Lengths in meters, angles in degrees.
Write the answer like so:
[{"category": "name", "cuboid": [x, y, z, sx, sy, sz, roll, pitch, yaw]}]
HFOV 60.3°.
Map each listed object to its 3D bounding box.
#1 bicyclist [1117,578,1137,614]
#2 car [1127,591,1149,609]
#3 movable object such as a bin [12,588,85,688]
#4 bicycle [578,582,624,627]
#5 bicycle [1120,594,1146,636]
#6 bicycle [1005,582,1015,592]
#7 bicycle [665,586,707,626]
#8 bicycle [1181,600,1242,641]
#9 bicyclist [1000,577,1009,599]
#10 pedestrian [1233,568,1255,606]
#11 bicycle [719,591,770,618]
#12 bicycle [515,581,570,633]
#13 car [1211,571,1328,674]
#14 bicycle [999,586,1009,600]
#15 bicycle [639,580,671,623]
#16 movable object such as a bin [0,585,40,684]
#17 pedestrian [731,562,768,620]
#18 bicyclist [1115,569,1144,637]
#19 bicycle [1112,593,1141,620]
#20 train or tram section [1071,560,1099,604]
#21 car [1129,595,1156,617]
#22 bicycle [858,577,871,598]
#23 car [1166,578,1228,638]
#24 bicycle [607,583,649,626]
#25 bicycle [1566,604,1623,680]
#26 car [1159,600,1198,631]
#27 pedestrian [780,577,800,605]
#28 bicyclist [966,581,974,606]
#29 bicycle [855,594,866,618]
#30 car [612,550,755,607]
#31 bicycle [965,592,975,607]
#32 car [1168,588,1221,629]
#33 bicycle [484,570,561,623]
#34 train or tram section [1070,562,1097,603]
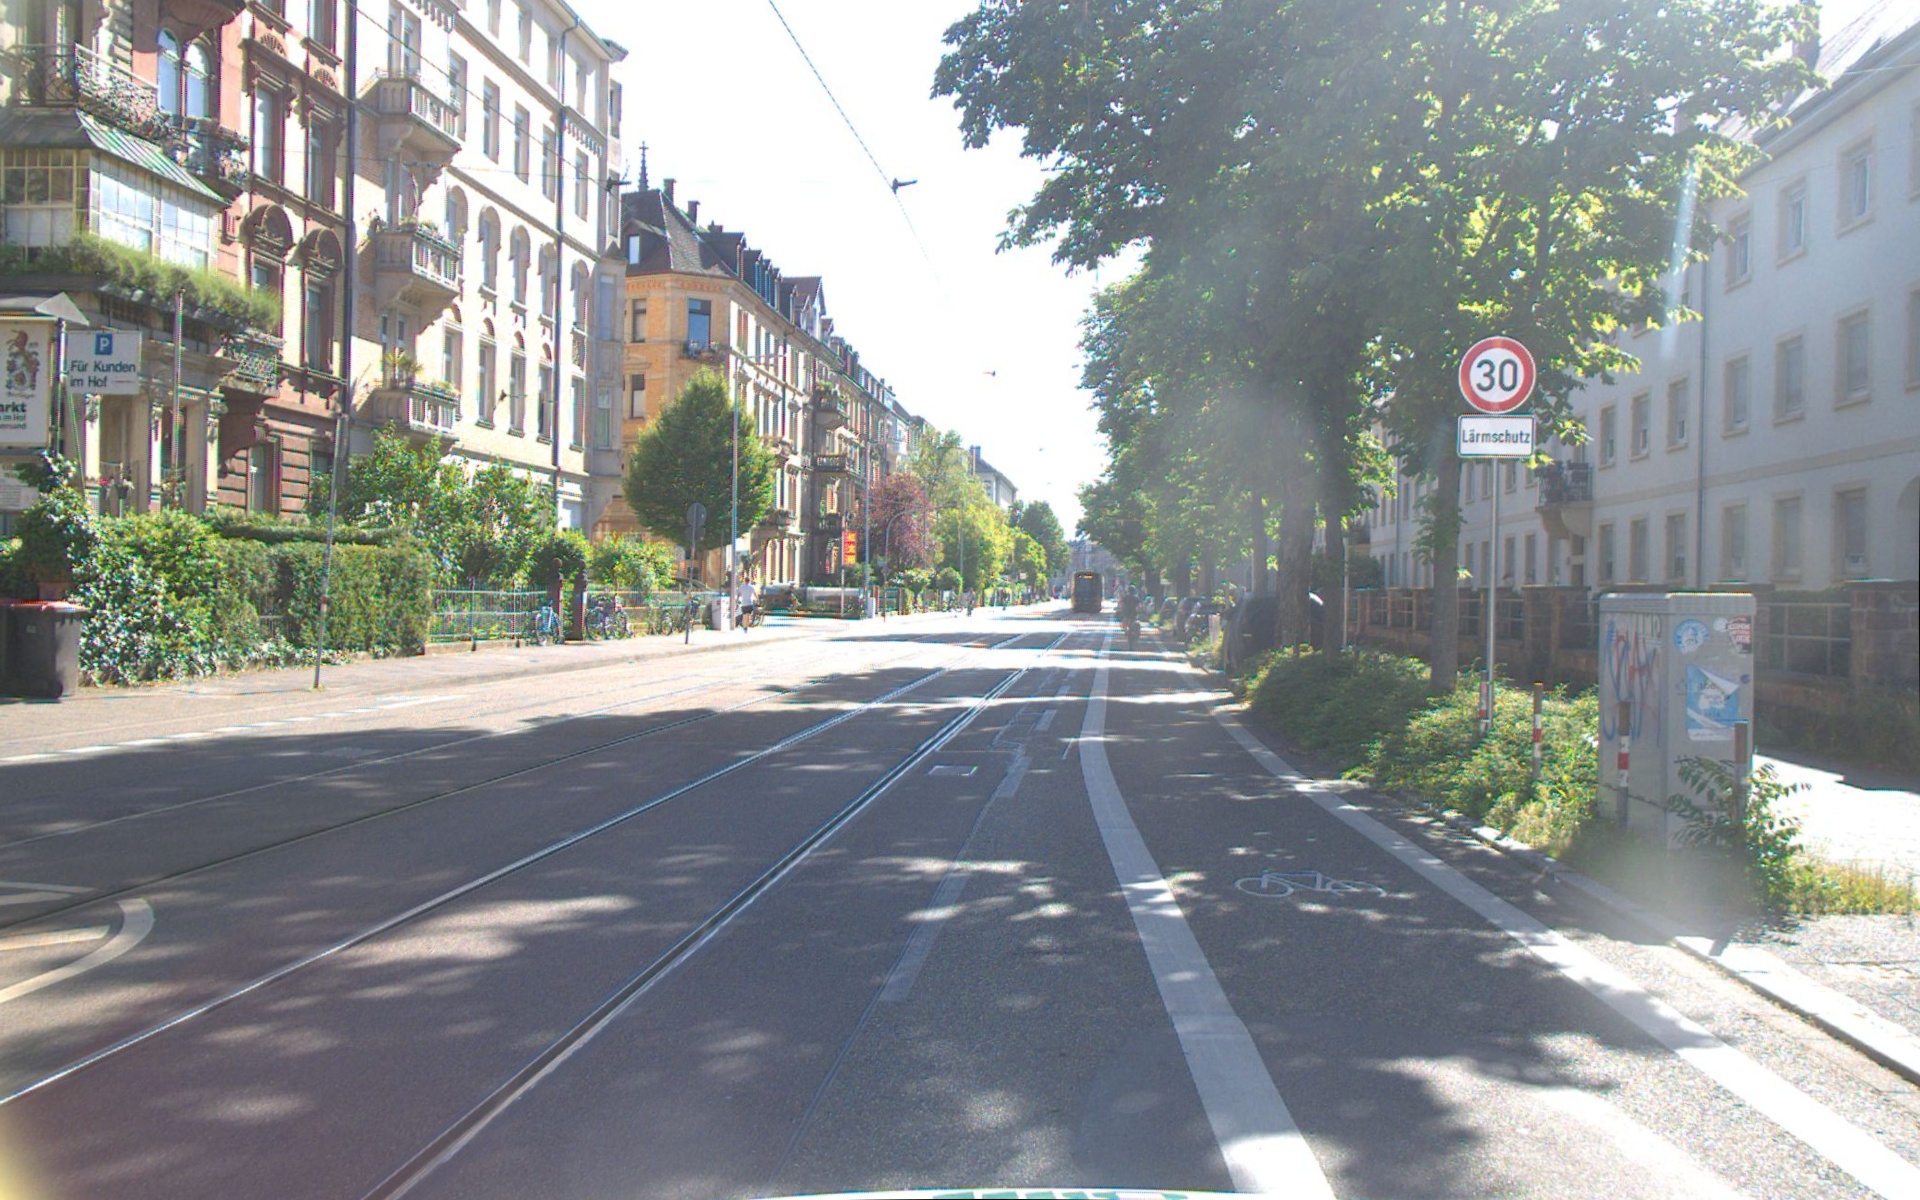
[{"category": "bicyclist", "cuboid": [7.139, -0.177, 70.640, 0.622, 1.493, 0.616, 3, 0, 21]}, {"category": "car", "cuboid": [14.715, 0.022, 137.134, 1.712, 1.445, 4.002, 1, 0, 5]}, {"category": "movable object such as a bin", "cuboid": [-10.524, 0.431, 19.108, 0.469, 1.105, 0.541, 3, 0, 7]}, {"category": "bicycle", "cuboid": [-8.711, 0.098, 40.213, 0.551, 1.051, 1.769, 3, 1, 5]}, {"category": "bicycle", "cuboid": [4.944, 0.425, 47.295, 0.677, 1.132, 1.720, 3, 1, 5]}, {"category": "bicycle", "cuboid": [5.277, -1.375, 175.708, 0.621, 1.087, 1.827, 3, 1, -11]}, {"category": "bicycle", "cuboid": [-7.838, 0.164, 47.339, 0.557, 1.051, 1.750, 2, 2, -31]}, {"category": "bicycle", "cuboid": [7.443, 0.599, 49.024, 1.724, 1.096, 0.434, 3, 0, 6]}, {"category": "bicyclist", "cuboid": [3.702, -0.972, 137.850, 0.646, 1.833, 0.616, 0, -1, 5]}, {"category": "pedestrian", "cuboid": [13.140, -0.601, 76.565, 0.750, 1.754, 0.578, 3, 0, 35]}, {"category": "bicycle", "cuboid": [-7.997, 0.160, 61.443, 1.764, 0.930, 0.614, 3, -1, -31]}, {"category": "bicycle", "cuboid": [-9.173, 0.138, 36.387, 0.551, 1.051, 1.769, 3, 2, 6]}, {"category": "car", "cuboid": [5.996, 0.397, 32.470, 1.707, 1.796, 4.480, 3, 1, 5]}, {"category": "bicycle", "cuboid": [3.693, -0.598, 137.935, 0.677, 1.132, 1.720, 0, 0, 5]}, {"category": "bicycle", "cuboid": [-8.453, 0.030, 45.801, 0.554, 1.051, 1.758, 5, 1, -19]}, {"category": "movable object such as a bin", "cuboid": [-11.085, 0.392, 19.162, 0.469, 1.105, 0.541, 3, 0, 7]}, {"category": "pedestrian", "cuboid": [-6.581, -0.286, 51.760, 0.812, 1.753, 1.083, 3, -1, 6]}, {"category": "bicyclist", "cuboid": [4.847, 0.090, 47.204, 0.712, 1.880, 0.837, 3, 0, 5]}, {"category": "bicycle", "cuboid": [7.110, 0.279, 70.556, 0.677, 1.132, 1.917, 3, 1, 21]}, {"category": "train or tram section", "cuboid": [10.612, -1.524, 140.253, 2.108, 3.491, 6.615, 3, 1, 5]}, {"category": "car", "cuboid": [12.955, 0.409, 117.583, 1.594, 1.461, 4.666, 1, 1, 2]}, {"category": "bicycle", "cuboid": [-4.746, -0.633, 82.519, 0.328, 1.018, 1.871, 3, 1, 5]}, {"category": "car", "cuboid": [7.509, 0.231, 52.629, 1.630, 1.791, 4.234, 2, 1, 4]}, {"category": "bicycle", "cuboid": [-8.458, 0.095, 42.180, 0.551, 1.051, 1.769, 3, 1, 5]}, {"category": "bicycle", "cuboid": [10.966, 0.705, 28.634, 0.438, 1.260, 1.676, 1, 0, 4]}, {"category": "car", "cuboid": [10.956, 0.764, 83.135, 1.749, 1.489, 4.047, 1, 0, 5]}, {"category": "pedestrian", "cuboid": [-8.459, -0.448, 82.433, 0.882, 1.376, 0.577, 0, 0, 7]}, {"category": "bicyclist", "cuboid": [0.653, -0.418, 106.056, 0.454, 1.647, 0.745, 0, 0, 5]}, {"category": "bicycle", "cuboid": [-4.886, 0.299, 81.581, 0.363, 1.146, 0.809, 3, 0, 5]}, {"category": "car", "cuboid": [-9.389, -0.724, 56.382, 4.352, 1.672, 1.968, 3, 0, 8]}, {"category": "bicycle", "cuboid": [0.664, -0.049, 106.252, 0.450, 0.942, 2.204, 0, 0, 5]}, {"category": "car", "cuboid": [8.820, 0.296, 62.437, 1.684, 1.499, 4.248, 0, 1, 4]}, {"category": "bicycle", "cuboid": [-9.957, -0.081, 37.620, 1.542, 1.051, 0.480, 5, 1, 4]}, {"category": "train or tram section", "cuboid": [11.014, -1.563, 146.866, 2.108, 3.491, 6.615, 3, 1, 5]}]
